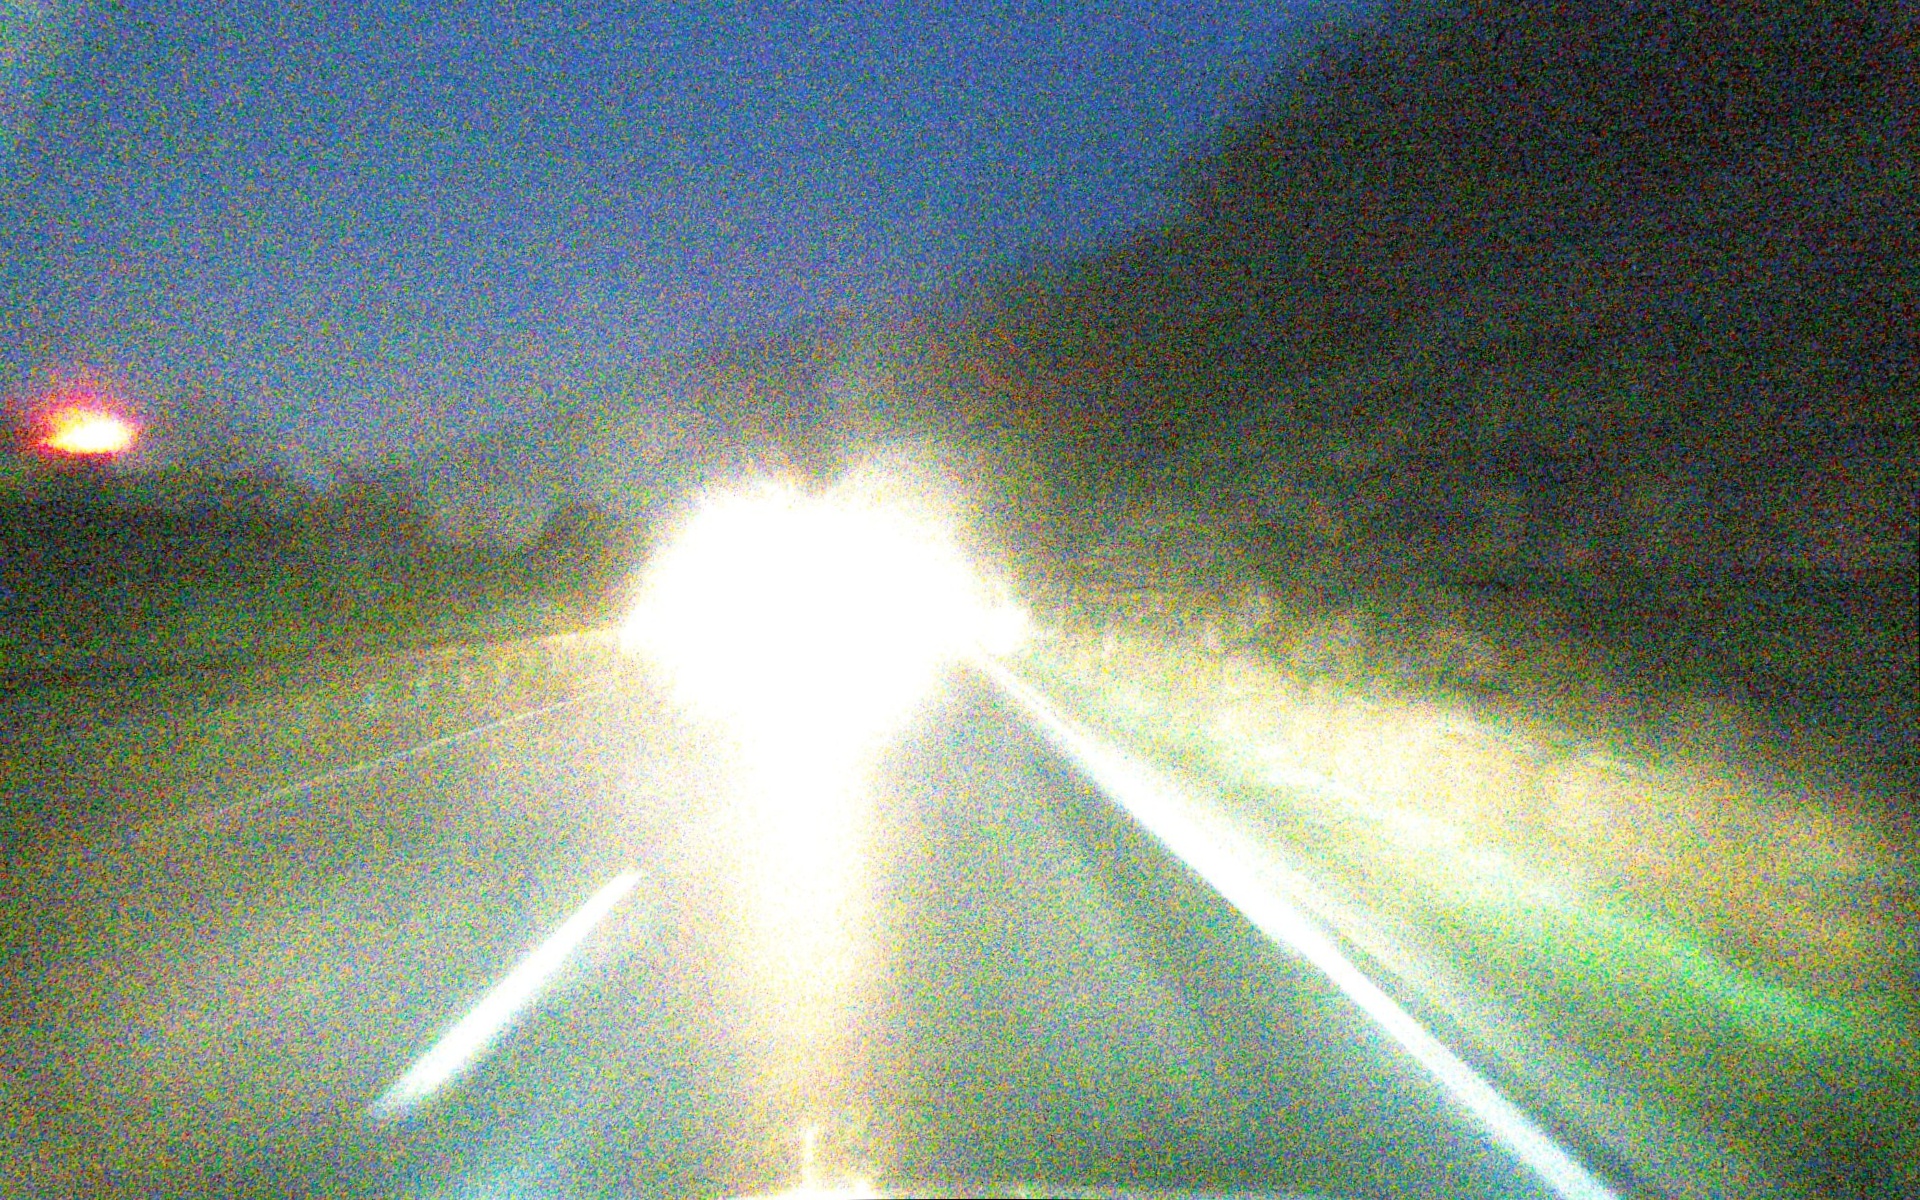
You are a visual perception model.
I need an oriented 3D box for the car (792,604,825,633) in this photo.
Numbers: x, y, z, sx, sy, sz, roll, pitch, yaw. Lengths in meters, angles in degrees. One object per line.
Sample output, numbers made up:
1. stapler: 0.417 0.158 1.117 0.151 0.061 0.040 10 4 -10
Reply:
1. car: -8.937 1.087 97.574 1.883 1.674 4.021 0 0 -5
